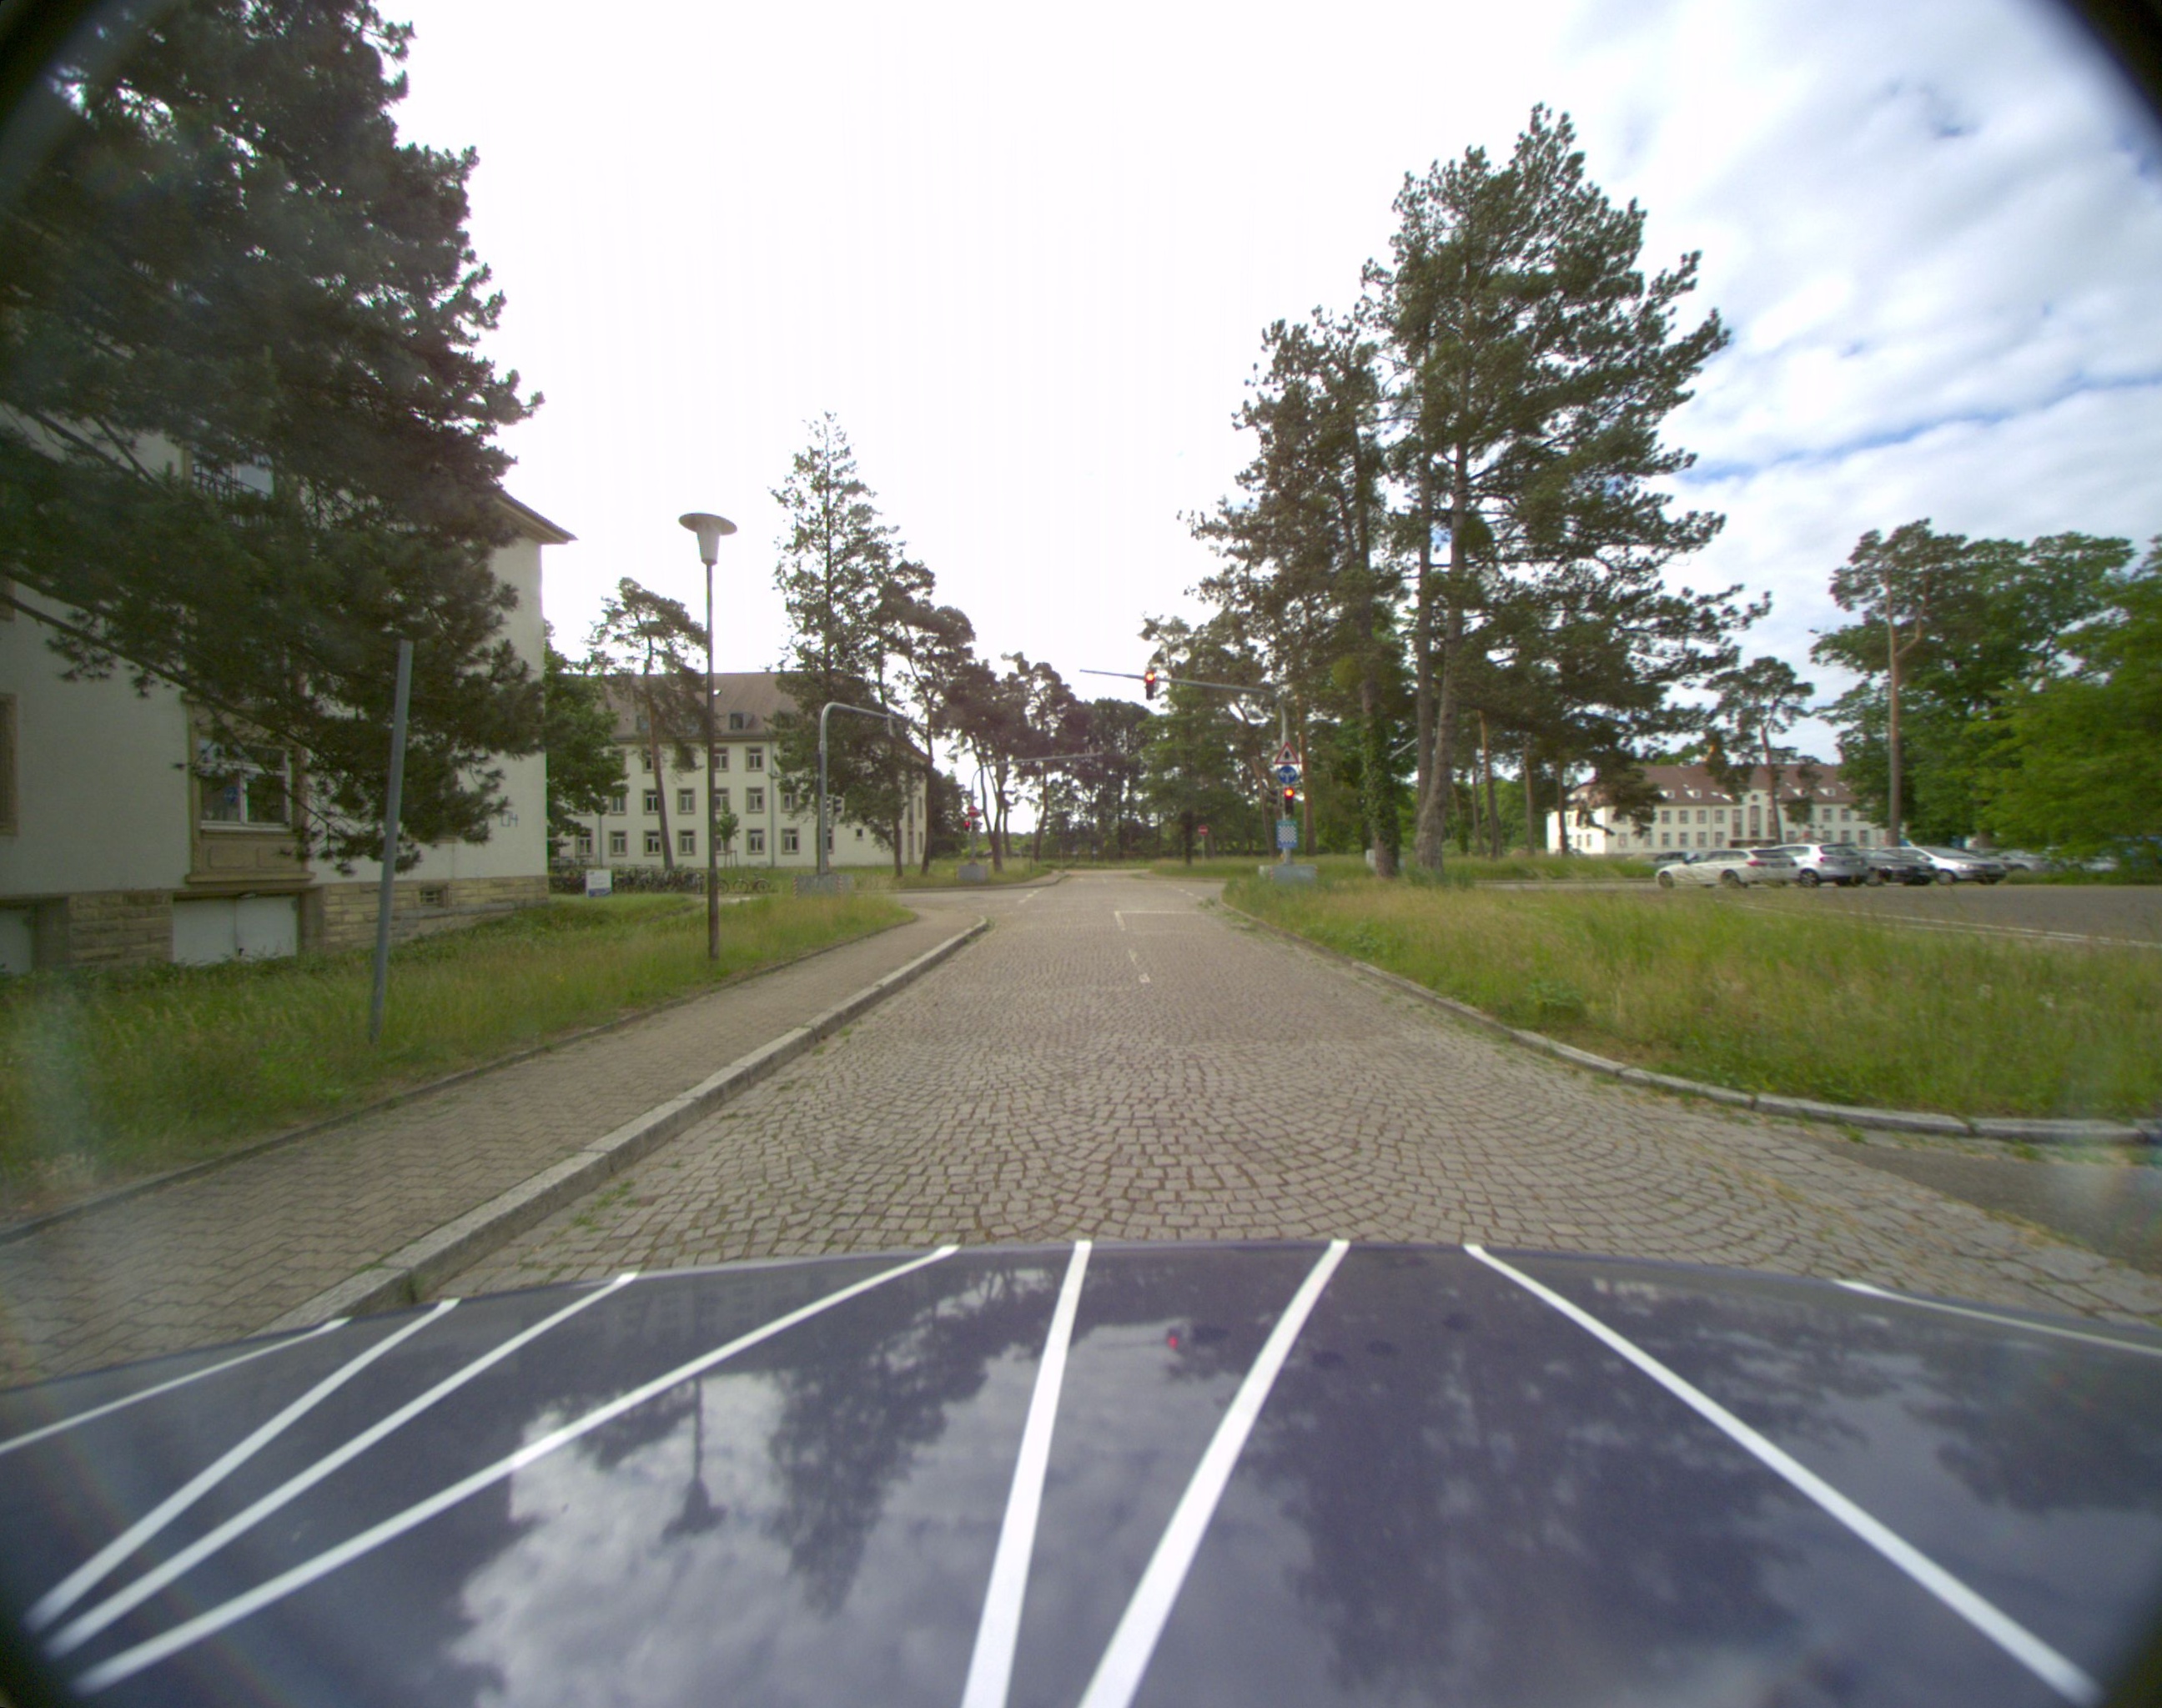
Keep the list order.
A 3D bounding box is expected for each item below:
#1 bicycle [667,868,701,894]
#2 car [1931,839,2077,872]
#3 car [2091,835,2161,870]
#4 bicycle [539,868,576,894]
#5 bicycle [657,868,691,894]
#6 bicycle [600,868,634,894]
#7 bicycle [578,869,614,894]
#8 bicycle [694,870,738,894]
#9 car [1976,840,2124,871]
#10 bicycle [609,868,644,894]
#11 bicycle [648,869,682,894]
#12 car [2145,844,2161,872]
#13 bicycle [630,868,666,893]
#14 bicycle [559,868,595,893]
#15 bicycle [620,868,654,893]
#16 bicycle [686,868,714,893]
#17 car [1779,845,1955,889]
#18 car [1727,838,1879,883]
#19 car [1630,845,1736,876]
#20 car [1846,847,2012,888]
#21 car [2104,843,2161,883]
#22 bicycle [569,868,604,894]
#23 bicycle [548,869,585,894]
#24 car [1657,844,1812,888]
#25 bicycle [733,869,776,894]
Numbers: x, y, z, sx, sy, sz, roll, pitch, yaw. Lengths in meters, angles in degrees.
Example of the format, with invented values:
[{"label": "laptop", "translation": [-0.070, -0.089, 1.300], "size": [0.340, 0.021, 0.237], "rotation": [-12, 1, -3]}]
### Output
[{"label": "bicycle", "translation": [-18.704, 1.261, 35.862], "size": [0.476, 1.121, 1.704], "rotation": [-1, 0, 9]}, {"label": "car", "translation": [46.180, 0.065, 38.197], "size": [1.830, 1.467, 4.401], "rotation": [-3, 0, -4]}, {"label": "car", "translation": [54.376, -0.093, 37.947], "size": [1.829, 1.712, 4.582], "rotation": [-1, 0, 1]}, {"label": "bicycle", "translation": [-24.915, 1.271, 36.182], "size": [0.448, 1.121, 1.731], "rotation": [-1, 0, 4]}, {"label": "bicycle", "translation": [-19.197, 1.257, 35.894], "size": [0.447, 1.121, 1.703], "rotation": [-1, 0, 9]}, {"label": "bicycle", "translation": [-22.006, 1.268, 36.050], "size": [0.448, 1.121, 1.731], "rotation": [-1, 0, 4]}, {"label": "bicycle", "translation": [-23.032, 1.289, 36.111], "size": [0.448, 1.121, 1.731], "rotation": [-1, 0, 4]}, {"label": "bicycle", "translation": [-16.535, 1.267, 34.427], "size": [1.655, 1.079, 0.615], "rotation": [-1, 1, 3]}, {"label": "car", "translation": [49.117, 0.078, 38.676], "size": [1.830, 1.466, 4.401], "rotation": [-1, 0, -4]}, {"label": "bicycle", "translation": [-21.524, 1.267, 36.013], "size": [0.448, 1.121, 1.731], "rotation": [-1, 0, 4]}, {"label": "bicycle", "translation": [-19.672, 1.278, 35.967], "size": [0.447, 1.121, 1.732], "rotation": [-1, 0, 9]}, {"label": "car", "translation": [56.931, 0.211, 37.926], "size": [1.829, 1.466, 4.189], "rotation": [-1, 0, 1]}, {"label": "bicycle", "translation": [-20.466, 1.249, 35.930], "size": [0.447, 1.121, 1.732], "rotation": [-1, 0, 9]}, {"label": "bicycle", "translation": [-23.976, 1.267, 36.153], "size": [0.448, 1.121, 1.731], "rotation": [-1, 0, 4]}, {"label": "bicycle", "translation": [-21.015, 1.243, 35.983], "size": [0.448, 1.121, 1.731], "rotation": [-1, 0, 4]}, {"label": "bicycle", "translation": [-18.076, 1.263, 36.087], "size": [0.476, 1.121, 1.657], "rotation": [-1, 0, 0]}, {"label": "car", "translation": [28.597, 0.423, 27.881], "size": [1.829, 1.466, 4.401], "rotation": [-1, 0, -2]}, {"label": "car", "translation": [25.938, 0.267, 27.505], "size": [1.674, 1.510, 3.899], "rotation": [-1, -1, -2]}, {"label": "car", "translation": [30.671, 0.308, 38.906], "size": [1.829, 1.466, 4.401], "rotation": [-1, 0, -2]}, {"label": "car", "translation": [31.400, 0.469, 28.325], "size": [1.637, 1.391, 4.037], "rotation": [-1, 0, -2]}, {"label": "car", "translation": [40.295, 0.324, 27.485], "size": [1.679, 1.467, 3.592], "rotation": [-1, 0, -2]}, {"label": "bicycle", "translation": [-23.512, 1.271, 36.151], "size": [0.448, 1.121, 1.731], "rotation": [-1, 0, 4]}, {"label": "bicycle", "translation": [-24.477, 1.291, 36.172], "size": [0.448, 1.121, 1.731], "rotation": [-1, 0, 4]}, {"label": "car", "translation": [23.432, 0.390, 27.493], "size": [1.829, 1.417, 4.319], "rotation": [-1, 0, -2]}, {"label": "bicycle", "translation": [-14.833, 1.250, 34.544], "size": [1.656, 1.079, 0.614], "rotation": [-1, 1, -2]}]
